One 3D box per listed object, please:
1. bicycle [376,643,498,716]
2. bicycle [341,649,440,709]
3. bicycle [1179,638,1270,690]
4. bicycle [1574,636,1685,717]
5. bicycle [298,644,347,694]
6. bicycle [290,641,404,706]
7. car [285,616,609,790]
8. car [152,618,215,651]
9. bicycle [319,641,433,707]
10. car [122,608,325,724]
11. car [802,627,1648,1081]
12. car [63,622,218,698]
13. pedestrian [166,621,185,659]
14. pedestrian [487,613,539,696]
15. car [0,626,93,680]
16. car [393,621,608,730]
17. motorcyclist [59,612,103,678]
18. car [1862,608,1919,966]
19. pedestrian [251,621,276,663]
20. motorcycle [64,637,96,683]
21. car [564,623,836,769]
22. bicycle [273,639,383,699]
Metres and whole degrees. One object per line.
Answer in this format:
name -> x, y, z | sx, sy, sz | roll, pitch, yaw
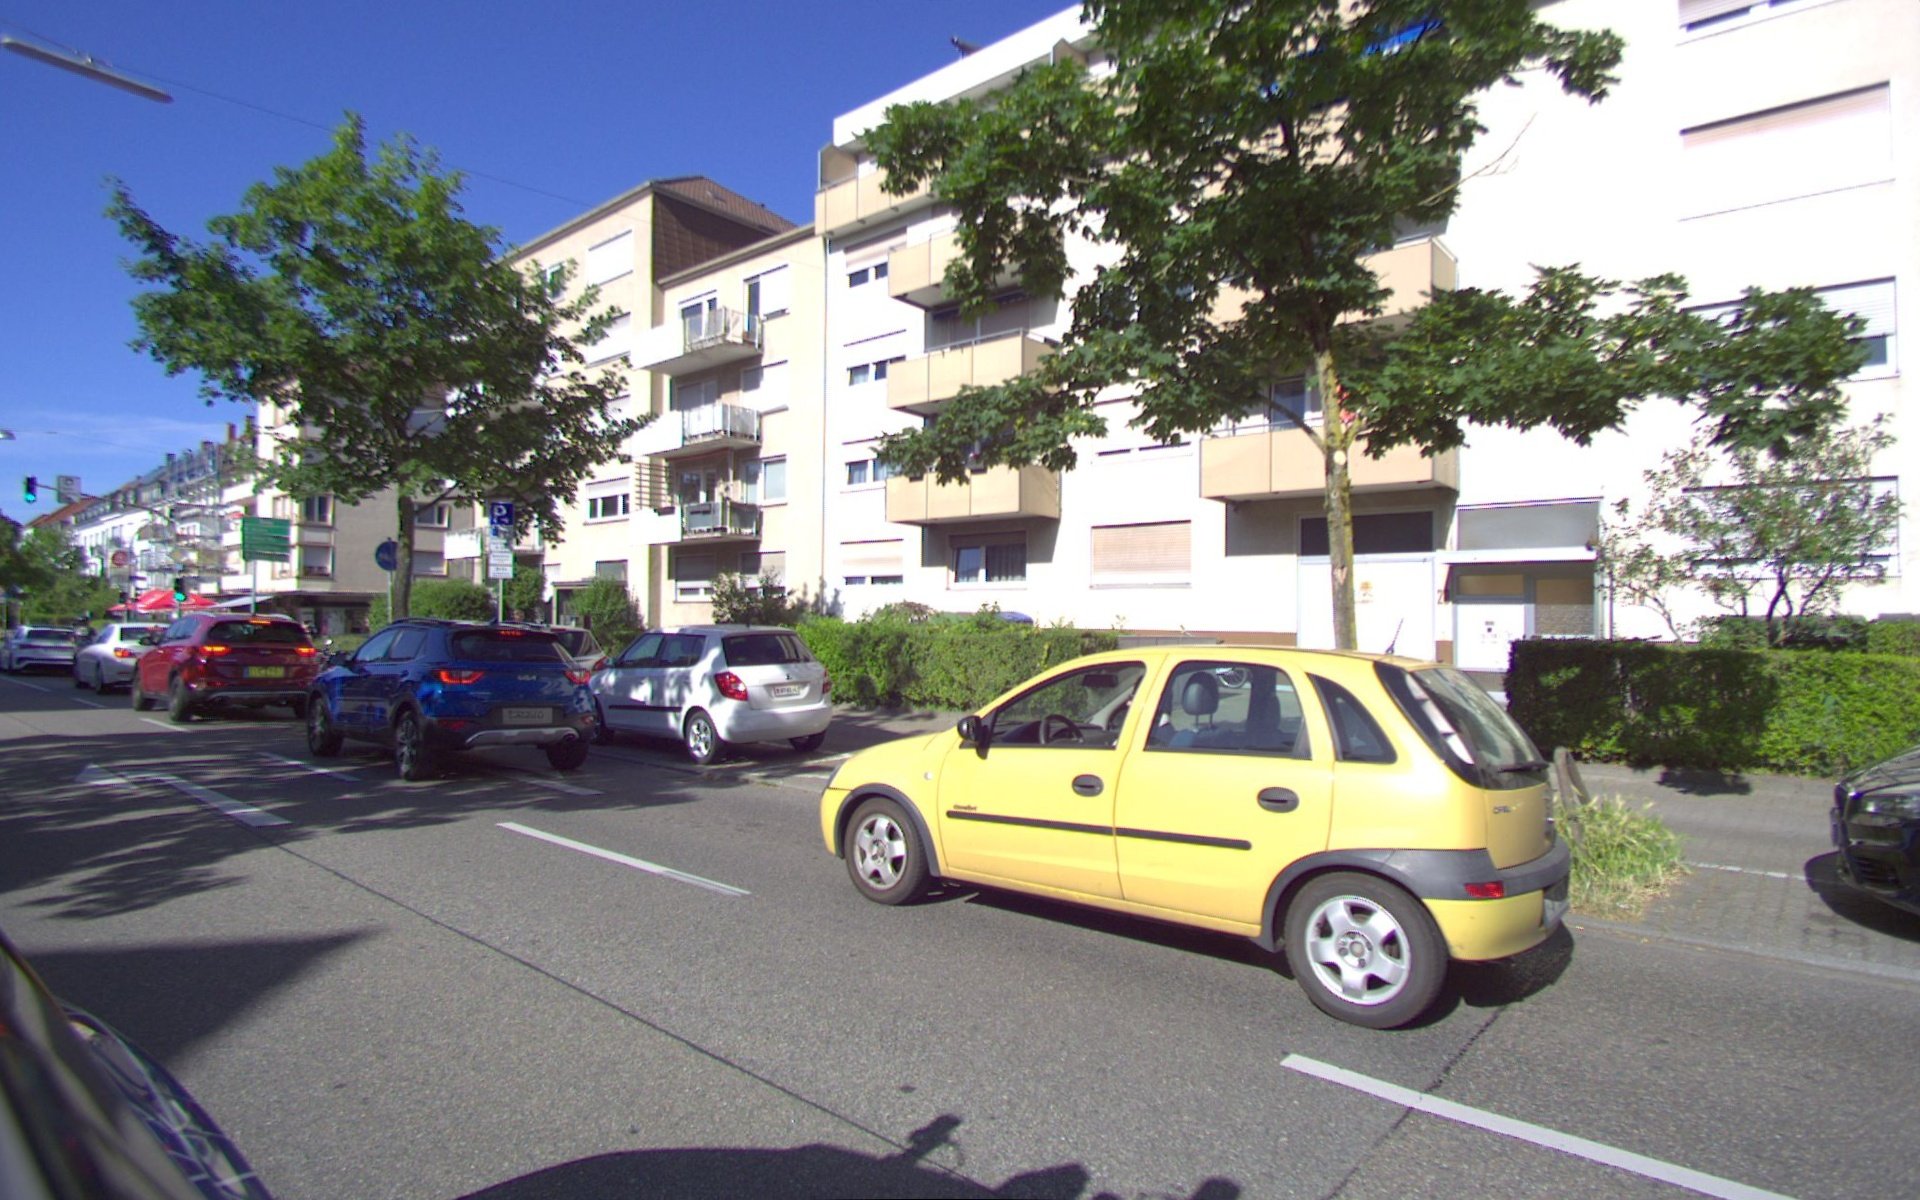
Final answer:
bicycle -> -9.043, 1.343, 17.559 | 0.559, 1.095, 1.808 | -1, 1, 40
bicycle -> -10.530, 1.442, 18.750 | 0.447, 0.972, 1.521 | -1, 1, 40
bicycle -> 5.088, 1.229, 19.535 | 1.654, 0.948, 0.476 | -1, -4, 41
bicycle -> 9.703, 1.088, 14.661 | 1.532, 1.069, 0.505 | -1, -2, -22
bicycle -> -14.426, 1.546, 22.895 | 1.705, 1.087, 0.422 | -1, -3, 40
bicycle -> -11.888, 1.399, 19.679 | 0.559, 1.095, 1.808 | -1, 1, 40
car -> -5.637, 1.000, 10.916 | 4.074, 1.529, 1.638 | -1, -5, 41
car -> -40.119, 1.790, 52.256 | 4.303, 1.635, 1.742 | -1, -2, 42
bicycle -> -11.072, 1.374, 19.237 | 0.492, 1.095, 1.808 | -1, 1, 40
car -> -11.985, 1.038, 16.366 | 4.298, 1.629, 1.703 | -2, -5, 42
car -> 1.087, 0.877, 5.037 | 3.733, 1.414, 1.618 | -1, -4, 40
car -> -17.905, 1.259, 22.025 | 4.776, 1.476, 1.794 | -1, -4, 42
pedestrian -> -36.841, 1.884, 47.514 | 0.661, 1.731, 0.584 | 2, -1, -40
pedestrian -> -9.379, 1.117, 21.244 | 0.929, 1.699, 0.662 | -1, -2, 40
car -> -26.561, 1.507, 29.116 | 4.503, 1.417, 1.680 | -1, -5, 40
car -> -7.186, 1.080, 15.667 | 3.892, 1.487, 1.489 | -1, -2, 39
motorcyclist -> -22.804, 1.174, 26.261 | 0.720, 1.659, 0.918 | 5, -5, -44
car -> 6.451, 0.824, 3.874 | 4.391, 1.617, 1.653 | -1, -1, 40
pedestrian -> -27.769, 1.671, 40.336 | 0.682, 1.671, 0.650 | -1, -3, 42
motorcycle -> -22.838, 1.550, 26.255 | 0.442, 1.130, 1.933 | 6, -5, -45
car -> -3.230, 1.037, 12.195 | 3.684, 1.501, 1.386 | -2, -2, 42
bicycle -> -13.606, 1.461, 21.838 | 0.518, 1.171, 1.949 | -1, -1, 36
